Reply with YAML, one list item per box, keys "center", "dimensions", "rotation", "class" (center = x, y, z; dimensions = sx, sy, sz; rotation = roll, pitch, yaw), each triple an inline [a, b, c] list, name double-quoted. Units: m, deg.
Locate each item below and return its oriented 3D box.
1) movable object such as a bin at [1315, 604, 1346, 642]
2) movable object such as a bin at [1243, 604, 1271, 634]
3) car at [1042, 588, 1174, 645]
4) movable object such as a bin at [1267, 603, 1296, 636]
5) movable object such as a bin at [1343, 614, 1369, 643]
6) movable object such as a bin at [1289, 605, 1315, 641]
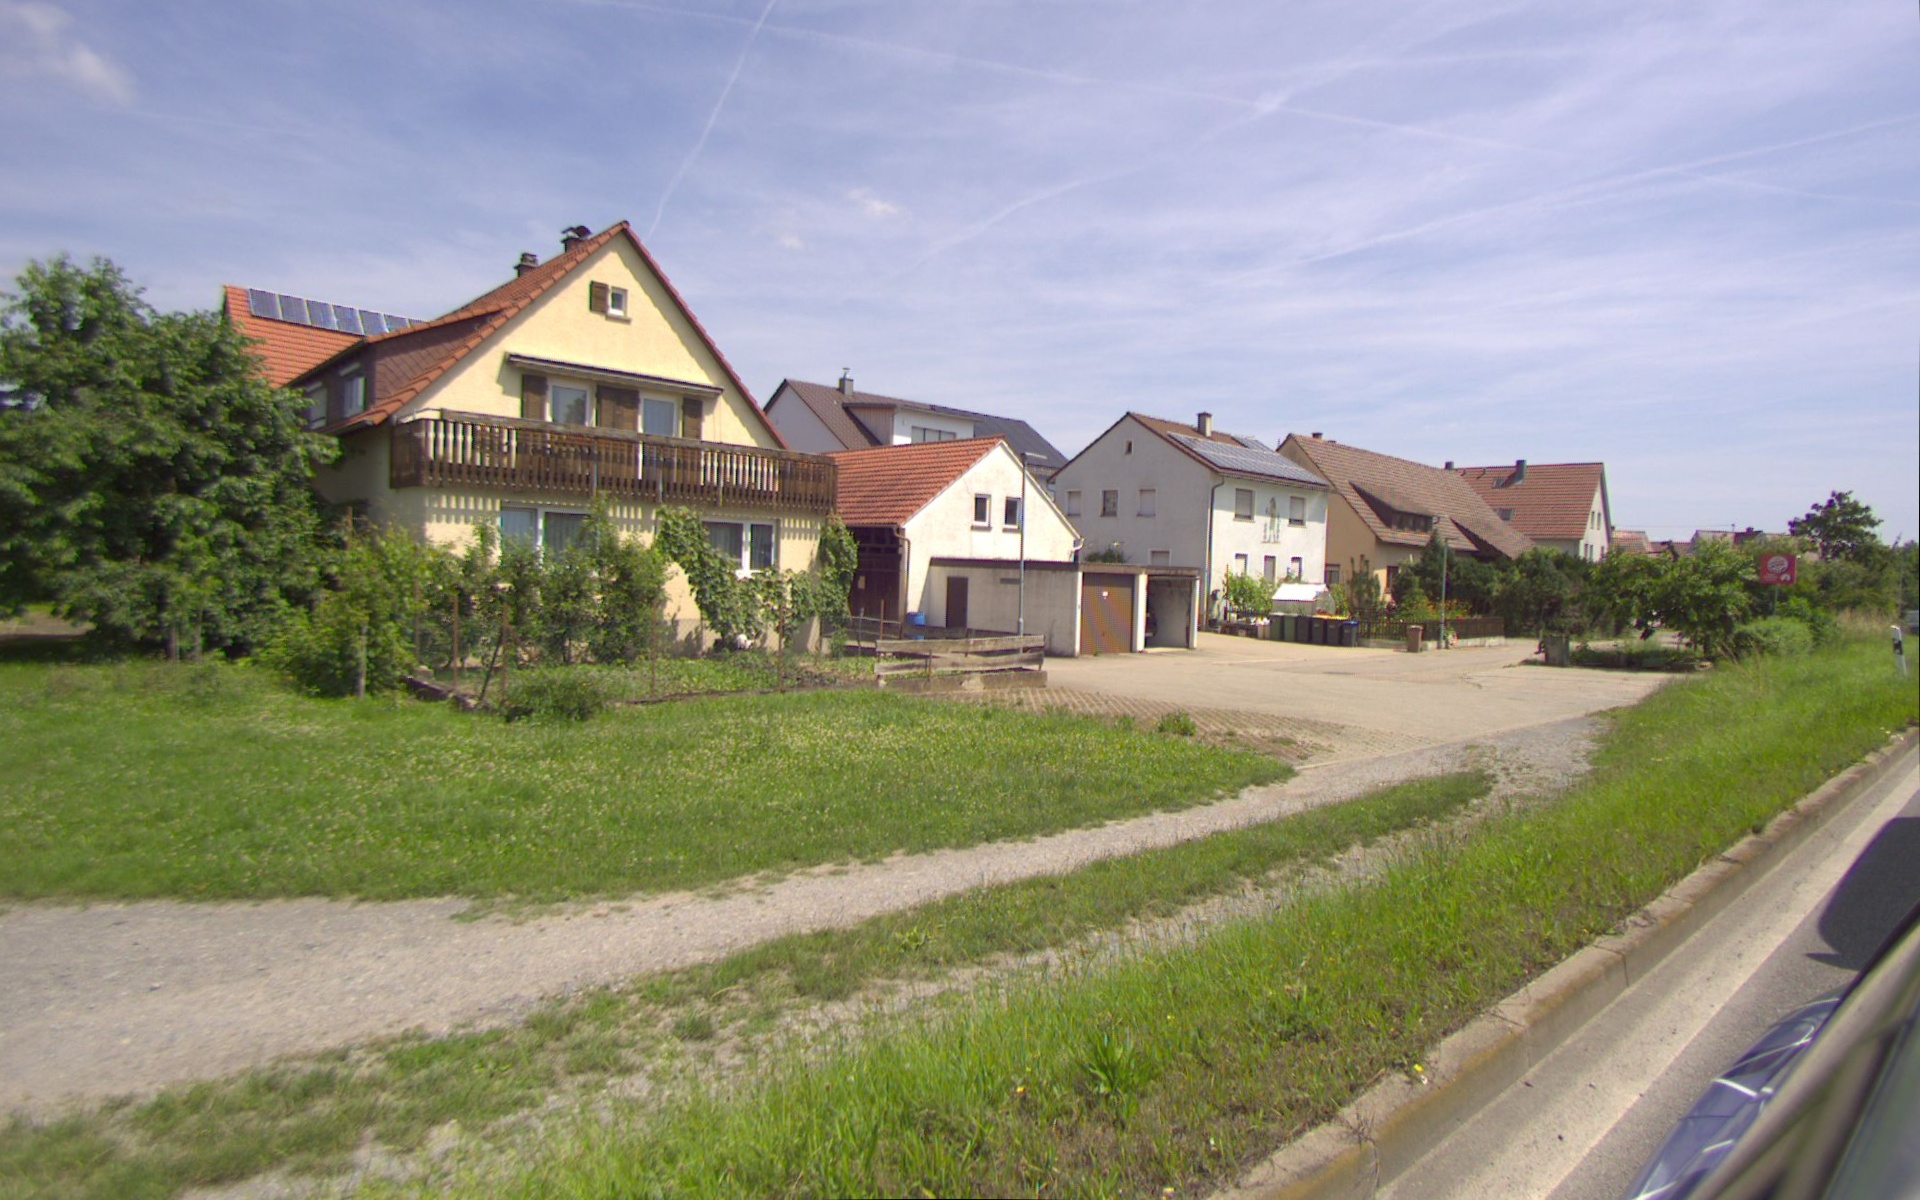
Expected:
- center: [14.032, 0.869, 38.365]
  dimensions: [0.930, 1.387, 0.764]
  rotation: [1, 0, -42]
  class: "movable object such as a bin"
- center: [11.969, 0.756, 40.794]
  dimensions: [0.816, 1.171, 0.739]
  rotation: [1, 0, -42]
  class: "movable object such as a bin"
- center: [4.662, 0.476, 32.301]
  dimensions: [1.794, 1.624, 3.995]
  rotation: [1, 1, -40]
  class: "car"
- center: [12.771, 0.765, 40.209]
  dimensions: [0.874, 1.262, 0.744]
  rotation: [1, 0, -42]
  class: "movable object such as a bin"
- center: [14.749, 1.048, 37.663]
  dimensions: [0.743, 1.040, 0.645]
  rotation: [1, 0, -42]
  class: "movable object such as a bin"
- center: [13.377, 0.894, 39.578]
  dimensions: [0.806, 1.355, 0.677]
  rotation: [1, 0, -42]
  class: "movable object such as a bin"
